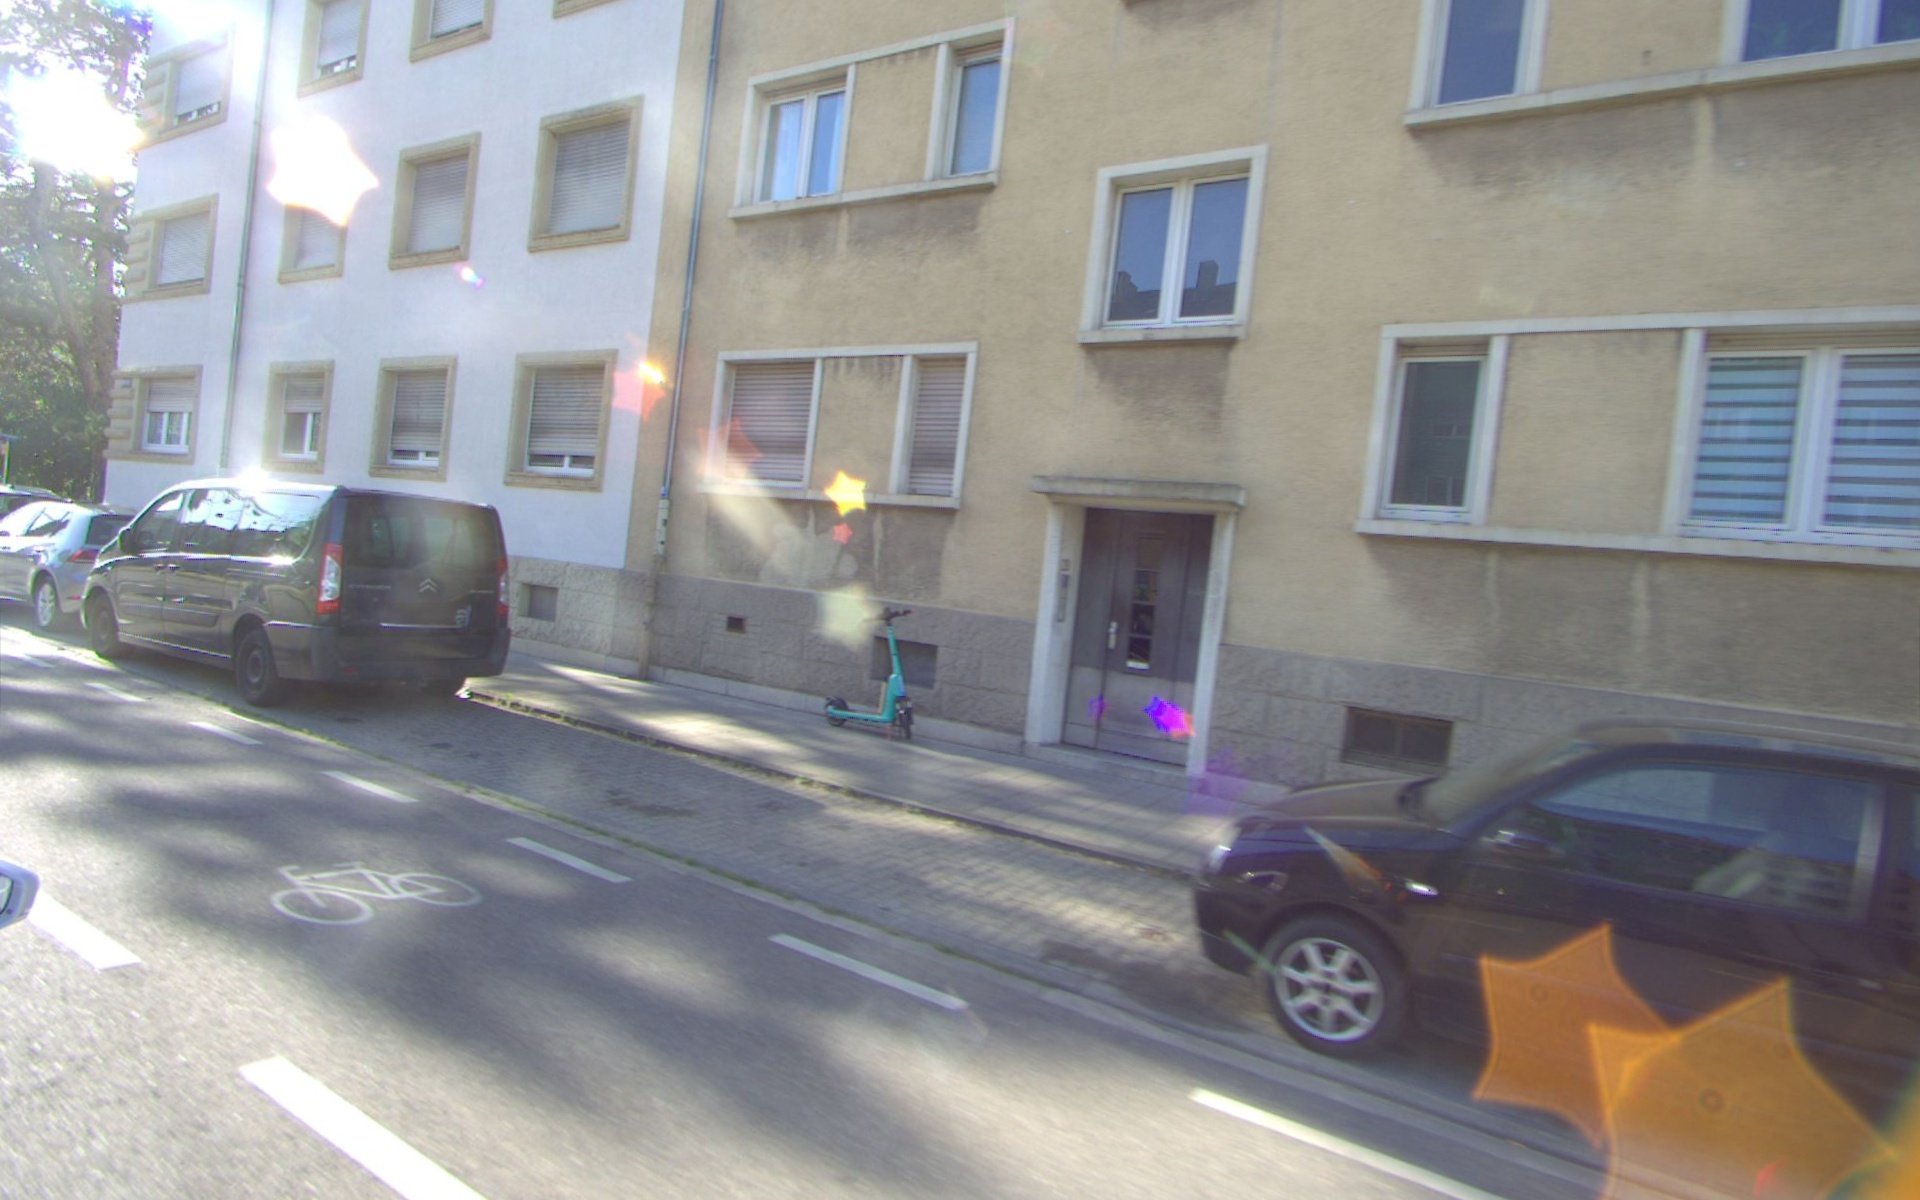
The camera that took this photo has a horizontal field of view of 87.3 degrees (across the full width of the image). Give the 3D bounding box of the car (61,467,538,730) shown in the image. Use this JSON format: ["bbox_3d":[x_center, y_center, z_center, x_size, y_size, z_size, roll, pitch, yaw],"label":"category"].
[{"bbox_3d":[-6.669,-0.159,9.961,5.049,1.925,1.913,6,3,31],"label":"car"}]

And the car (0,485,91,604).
[{"bbox_3d":[-14.696,-0.952,14.814,3.829,1.599,1.595,6,2,29],"label":"car"}]

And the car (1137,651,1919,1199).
[{"bbox_3d":[2.828,1.177,4.048,3.726,1.473,1.636,6,2,32],"label":"car"}]

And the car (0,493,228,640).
[{"bbox_3d":[-11.121,-0.491,12.575,4.165,1.497,1.512,6,1,29],"label":"car"}]

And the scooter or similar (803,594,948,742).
[{"bbox_3d":[-0.835,0.632,9.805,1.316,1.256,0.458,7,4,32],"label":"scooter or similar"}]
